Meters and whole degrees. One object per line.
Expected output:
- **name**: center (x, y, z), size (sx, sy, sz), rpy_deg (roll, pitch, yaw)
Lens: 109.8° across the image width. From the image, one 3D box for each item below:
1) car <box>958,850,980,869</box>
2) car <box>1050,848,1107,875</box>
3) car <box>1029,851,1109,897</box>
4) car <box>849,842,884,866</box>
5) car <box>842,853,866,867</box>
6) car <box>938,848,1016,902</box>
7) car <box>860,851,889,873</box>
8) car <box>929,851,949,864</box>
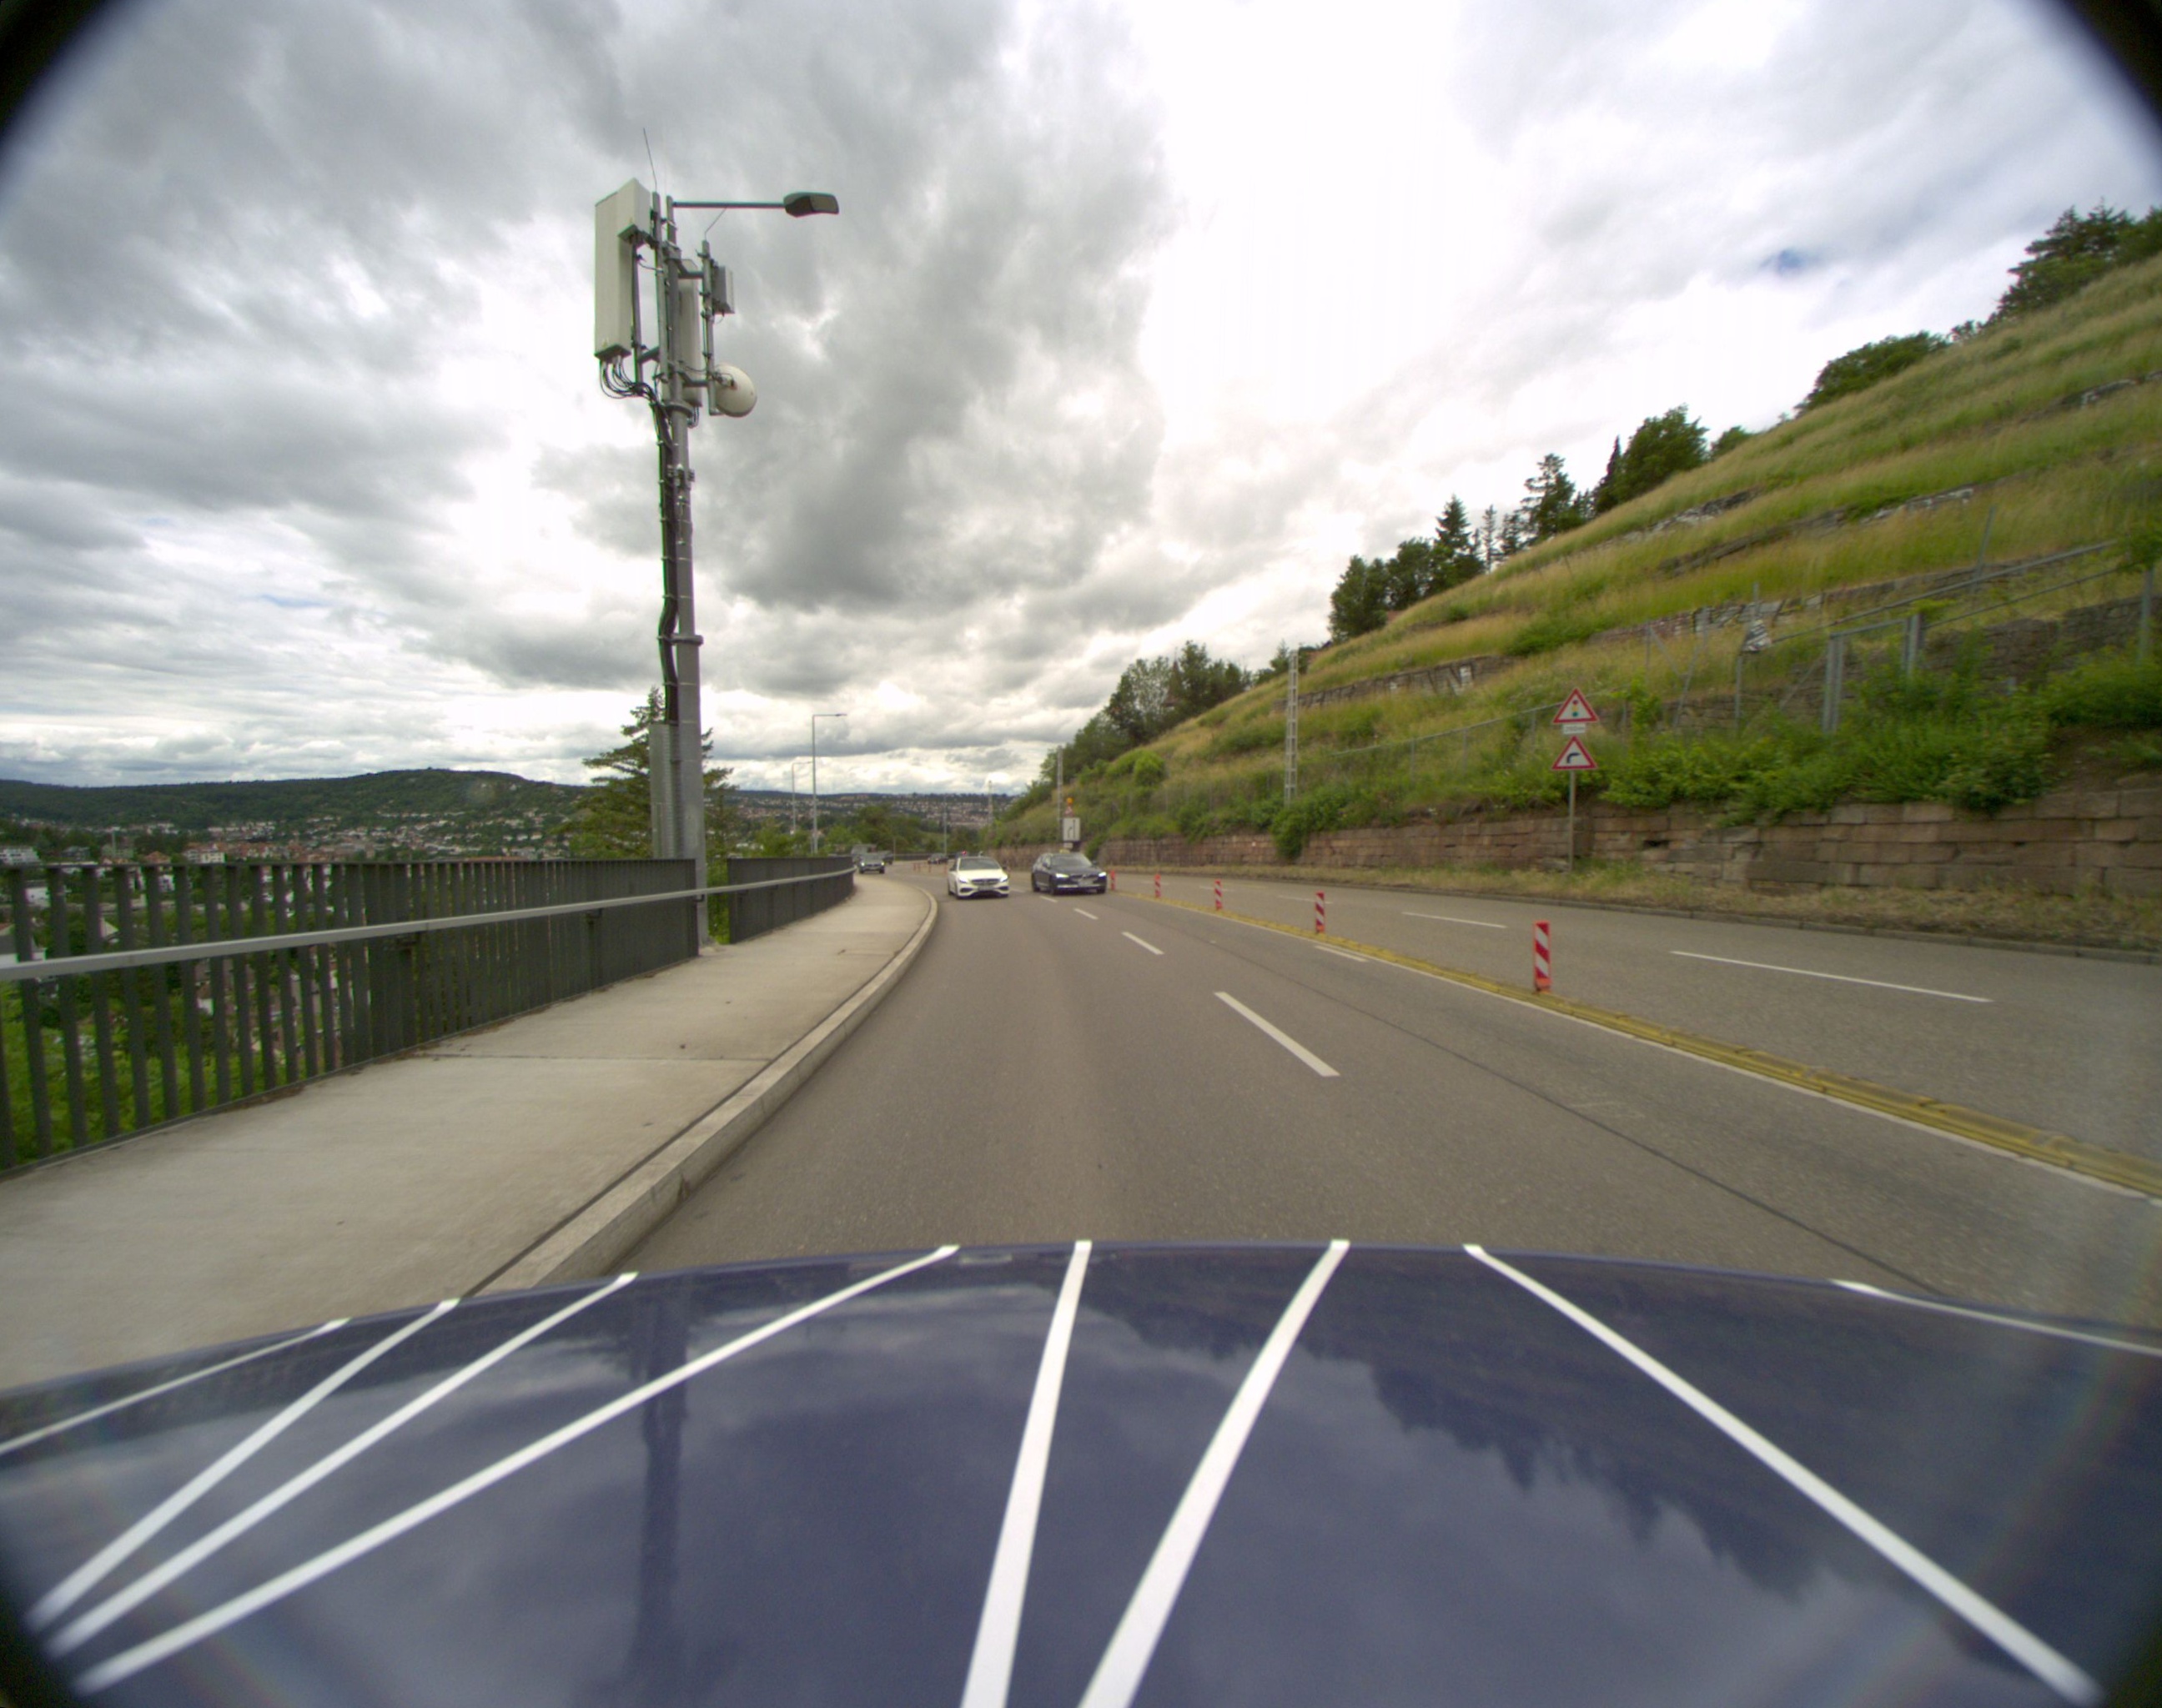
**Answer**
- **car**: center (-11.311, 0.512, 77.183), size (1.856, 1.772, 4.731), rpy_deg (-3, 1, -5)
- **car**: center (-0.216, 0.418, 44.831), size (1.858, 1.405, 4.407), rpy_deg (-4, 2, -20)
- **car**: center (-0.517, 0.668, 27.124), size (1.903, 1.485, 4.136), rpy_deg (-2, 0, -14)
- **car**: center (-24.700, -0.039, 87.559), size (2.172, 2.507, 5.770), rpy_deg (3, 1, 1)
- **car**: center (-24.343, 0.623, 81.514), size (1.719, 1.423, 3.847), rpy_deg (1, 1, -6)
- **car**: center (-3.803, 0.697, 27.174), size (2.001, 1.708, 3.994), rpy_deg (-3, 0, -18)
- **car**: center (-16.616, 0.617, 61.020), size (2.002, 1.661, 4.530), rpy_deg (-1, 0, -19)
- **car**: center (-19.360, 0.423, 103.739), size (1.999, 1.661, 4.537), rpy_deg (-1, 0, -1)
